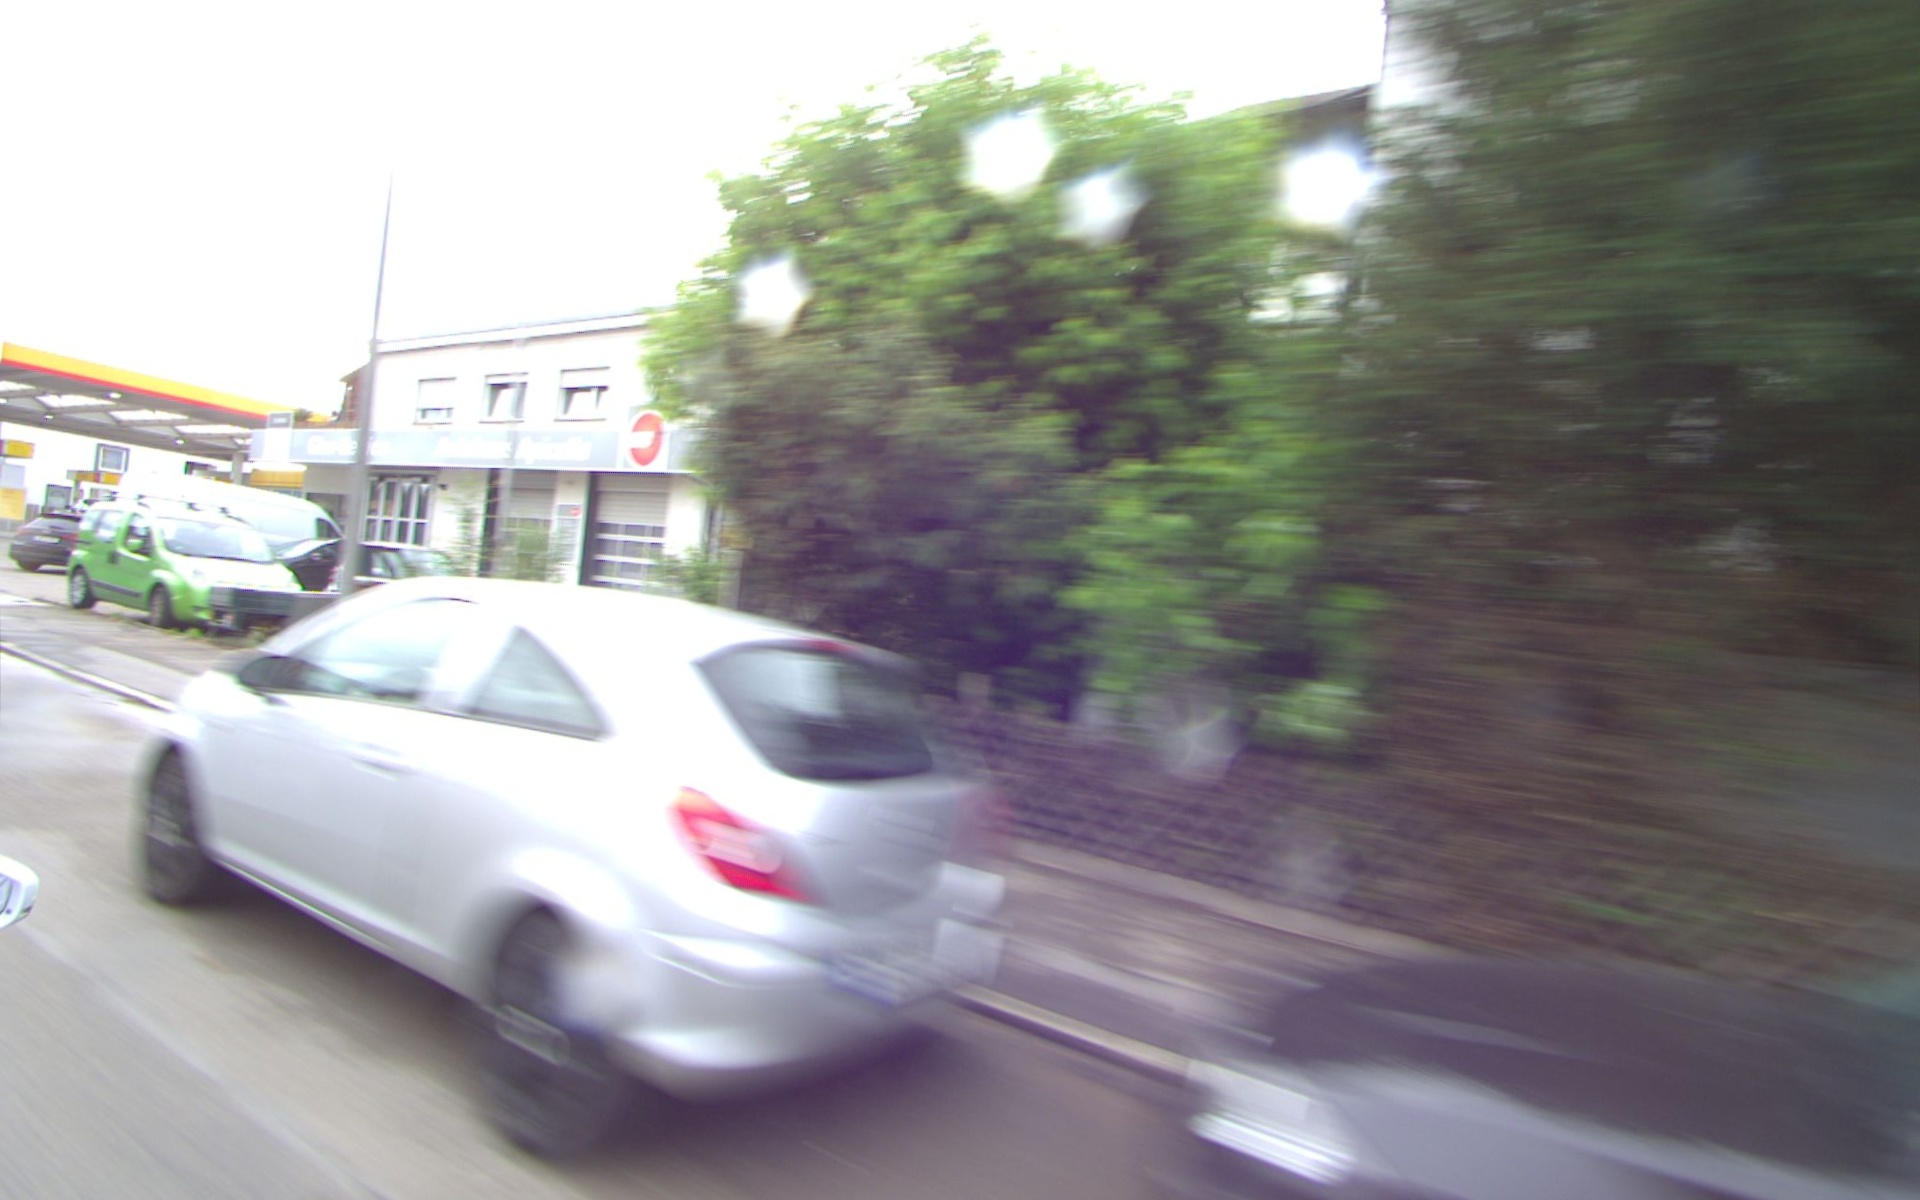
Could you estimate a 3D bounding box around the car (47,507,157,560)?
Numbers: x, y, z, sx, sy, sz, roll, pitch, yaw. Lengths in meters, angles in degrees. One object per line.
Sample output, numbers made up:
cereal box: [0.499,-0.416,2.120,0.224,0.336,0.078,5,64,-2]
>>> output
car: [-32.094,-2.500,37.608,4.596,1.483,1.742,6,-1,32]

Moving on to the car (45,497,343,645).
car: [-11.569,-0.438,15.185,3.931,1.703,1.998,6,-1,28]

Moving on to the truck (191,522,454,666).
truck: [-8.362,-0.039,13.310,1.307,1.548,2.553,6,-1,40]

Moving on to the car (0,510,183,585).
car: [-20.811,-1.190,24.231,1.752,1.391,3.990,7,-1,-14]

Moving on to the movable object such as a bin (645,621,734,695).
movable object such as a bin: [-3.857,0.838,14.351,0.746,0.938,0.860,5,-2,31]

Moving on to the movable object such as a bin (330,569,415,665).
movable object such as a bin: [-7.320,0.215,12.538,0.670,1.088,0.575,6,0,31]

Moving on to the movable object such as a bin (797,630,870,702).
movable object such as a bin: [-2.121,1.118,16.917,0.746,1.090,0.860,5,-2,31]

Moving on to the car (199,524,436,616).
car: [-15.138,-0.651,23.966,1.864,1.592,4.310,6,-1,28]

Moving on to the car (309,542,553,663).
car: [-8.723,0.014,16.564,3.667,1.540,1.748,6,2,28]

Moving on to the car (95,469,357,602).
car: [-17.828,-1.448,24.813,2.204,2.550,4.809,7,-1,11]

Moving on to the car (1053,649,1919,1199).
car: [2.215,1.076,1.748,3.657,1.418,1.741,6,-3,32]

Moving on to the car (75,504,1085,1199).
car: [-1.681,0.613,4.016,3.819,1.519,1.741,6,-3,34]
